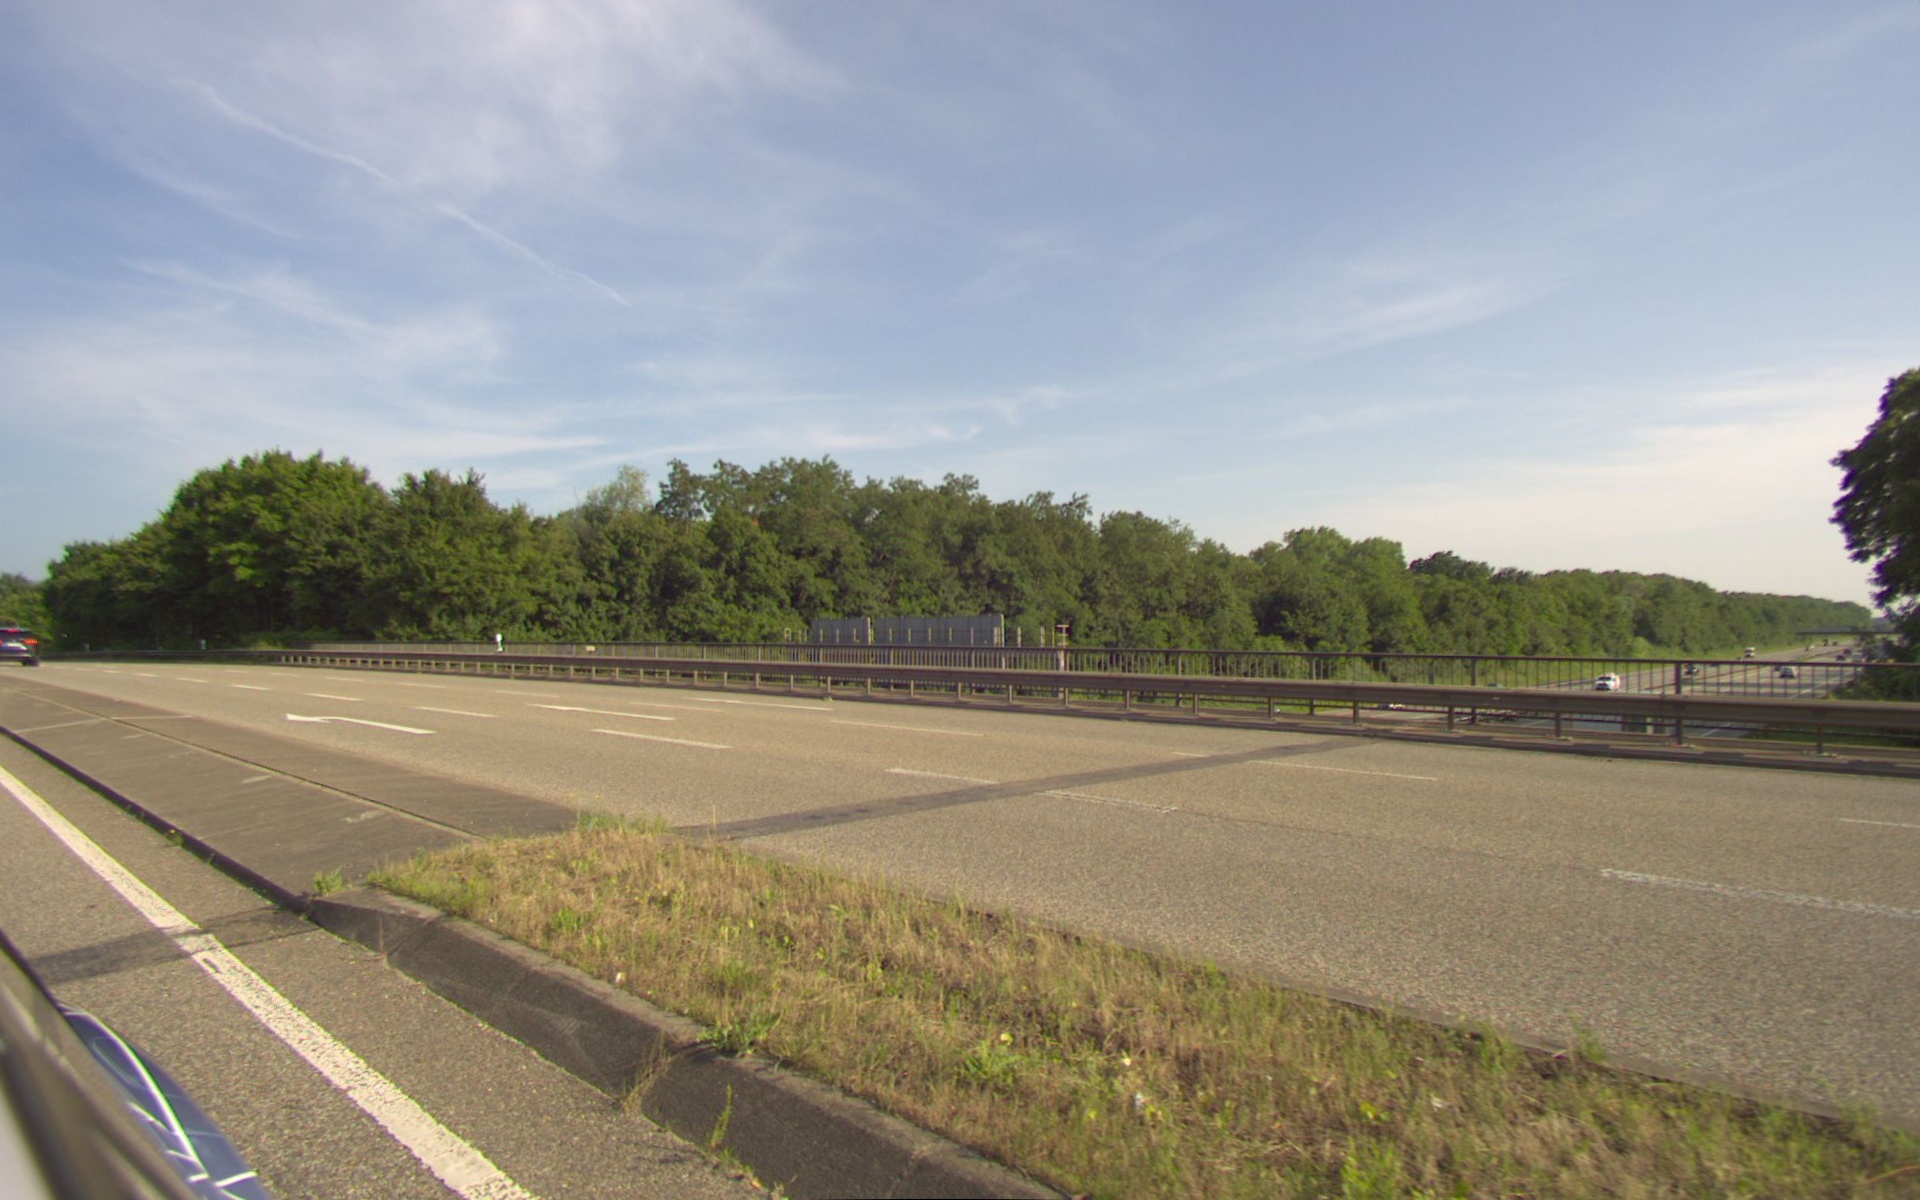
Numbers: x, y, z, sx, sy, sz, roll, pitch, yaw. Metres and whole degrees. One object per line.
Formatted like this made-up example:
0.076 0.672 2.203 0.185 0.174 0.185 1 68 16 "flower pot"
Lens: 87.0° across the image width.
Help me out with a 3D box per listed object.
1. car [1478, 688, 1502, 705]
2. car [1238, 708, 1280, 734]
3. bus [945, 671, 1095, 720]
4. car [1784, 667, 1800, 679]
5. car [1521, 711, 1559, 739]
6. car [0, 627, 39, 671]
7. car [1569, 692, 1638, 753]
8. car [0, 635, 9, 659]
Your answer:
65.954 11.963 125.960 1.879 1.737 4.134 -2 -1 39 "car"
24.803 9.983 83.946 1.879 1.737 4.134 -2 -2 39 "car"
3.916 5.947 62.512 10.784 2.028 2.316 11 -8 -42 "bus"
136.570 11.922 166.135 1.879 1.737 4.134 -2 -2 39 "car"
44.498 9.541 77.574 1.879 1.737 4.134 -2 -2 39 "car"
-43.840 2.218 46.322 4.616 1.842 1.973 0 0 41 "car"
37.674 7.198 59.152 2.762 3.142 6.232 0 -8 38 "car"
-76.550 3.720 79.725 4.417 1.842 1.895 0 0 41 "car"
